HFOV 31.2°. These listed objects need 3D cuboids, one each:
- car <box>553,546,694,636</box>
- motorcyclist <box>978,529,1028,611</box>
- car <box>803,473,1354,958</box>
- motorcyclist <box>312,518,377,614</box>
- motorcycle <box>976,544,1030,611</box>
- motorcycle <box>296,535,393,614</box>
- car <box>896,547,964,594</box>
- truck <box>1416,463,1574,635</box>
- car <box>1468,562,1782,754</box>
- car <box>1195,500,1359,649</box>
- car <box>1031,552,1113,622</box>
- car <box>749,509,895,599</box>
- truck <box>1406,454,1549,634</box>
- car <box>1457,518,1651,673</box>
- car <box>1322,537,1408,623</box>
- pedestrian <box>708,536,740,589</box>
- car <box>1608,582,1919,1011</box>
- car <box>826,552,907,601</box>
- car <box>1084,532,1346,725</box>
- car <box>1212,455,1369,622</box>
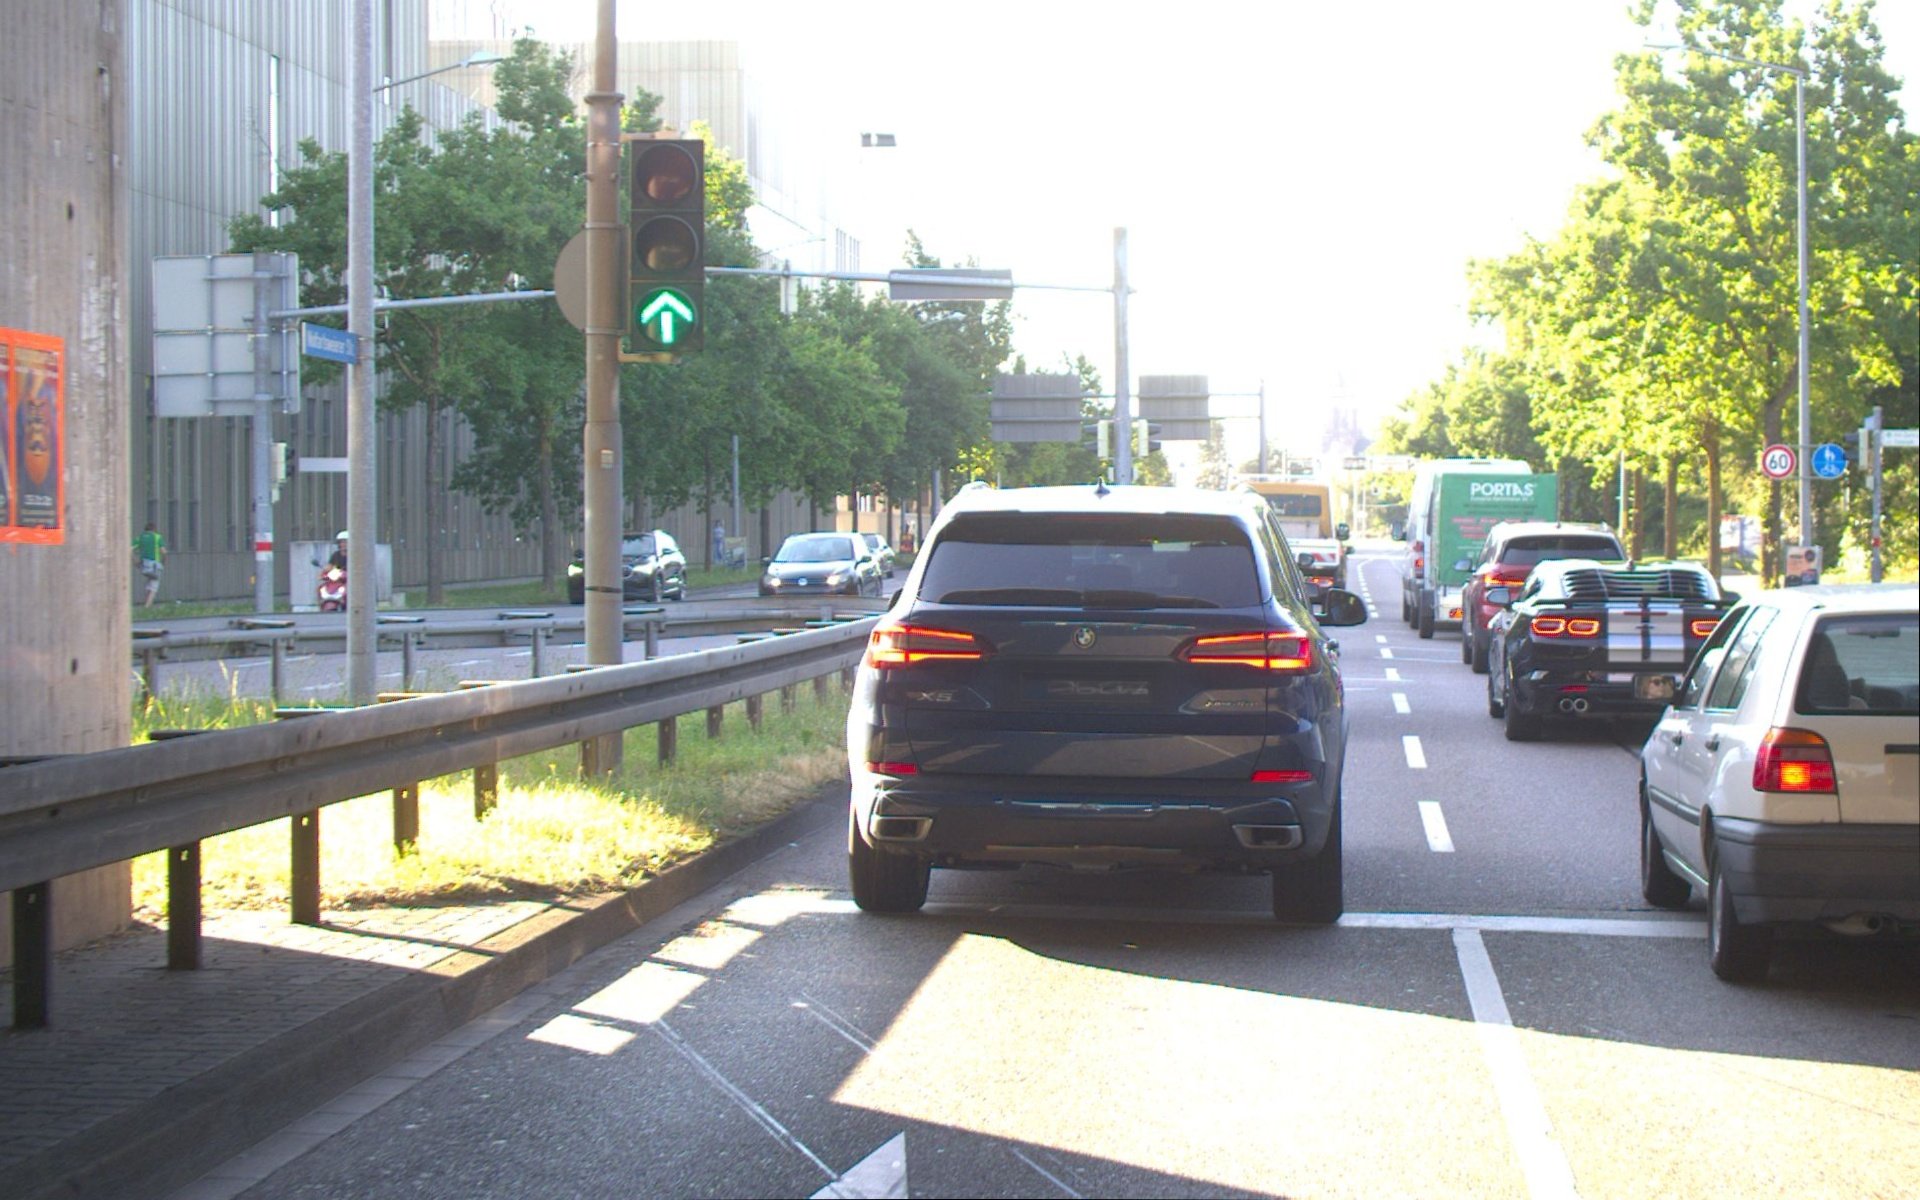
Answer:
[{"bbox_3d":[-6.960,-0.190,71.510,1.994,1.691,4.680,-3,0,5],"label":"car"},{"bbox_3d":[0.729,-0.515,59.016,0.797,1.345,1.275,-2,2,0],"label":"motorcyclist"},{"bbox_3d":[0.680,0.411,14.955,1.994,1.728,4.531,2,0,6],"label":"car"},{"bbox_3d":[-9.297,-0.506,51.966,0.681,1.419,0.867,2,0,9],"label":"motorcyclist"},{"bbox_3d":[0.732,-0.393,58.968,0.840,1.072,2.401,-2,1,0],"label":"motorcycle"},{"bbox_3d":[-9.295,-0.387,52.012,0.681,1.152,2.238,2,0,10],"label":"motorcycle"},{"bbox_3d":[-1.095,-1.087,127.864,1.994,1.586,4.714,-3,0,5],"label":"car"},{"bbox_3d":[7.605,-0.717,49.184,1.996,2.307,3.999,2,0,6],"label":"truck"},{"bbox_3d":[4.955,0.398,26.127,1.994,1.290,3.999,2,0,6],"label":"car"},{"bbox_3d":[3.859,-0.297,41.406,1.617,1.673,3.681,2,0,10],"label":"car"},{"bbox_3d":[2.548,-0.286,77.506,1.702,1.447,3.857,-3,0,3],"label":"car"},{"bbox_3d":[-2.403,-0.800,60.866,1.994,1.470,4.080,2,0,5],"label":"car"},{"bbox_3d":[8.070,-0.853,53.911,1.996,2.659,3.999,2,0,6],"label":"truck"},{"bbox_3d":[6.425,-0.054,37.526,1.797,1.553,3.999,2,0,6],"label":"car"},{"bbox_3d":[8.287,-0.414,70.499,1.617,1.673,3.682,2,0,5],"label":"car"},{"bbox_3d":[-9.123,-1.451,132.826,1.019,2.007,0.961,2,0,7],"label":"pedestrian"},{"bbox_3d":[3.542,0.659,13.450,1.579,1.408,4.061,2,0,5],"label":"car"},{"bbox_3d":[-2.898,-0.738,107.402,1.994,1.396,4.348,-3,0,5],"label":"car"},{"bbox_3d":[2.122,0.211,27.764,1.617,1.405,3.681,2,0,12],"label":"car"},{"bbox_3d":[5.369,-0.982,56.405,2.137,2.567,5.087,2,0,1],"label":"car"}]
